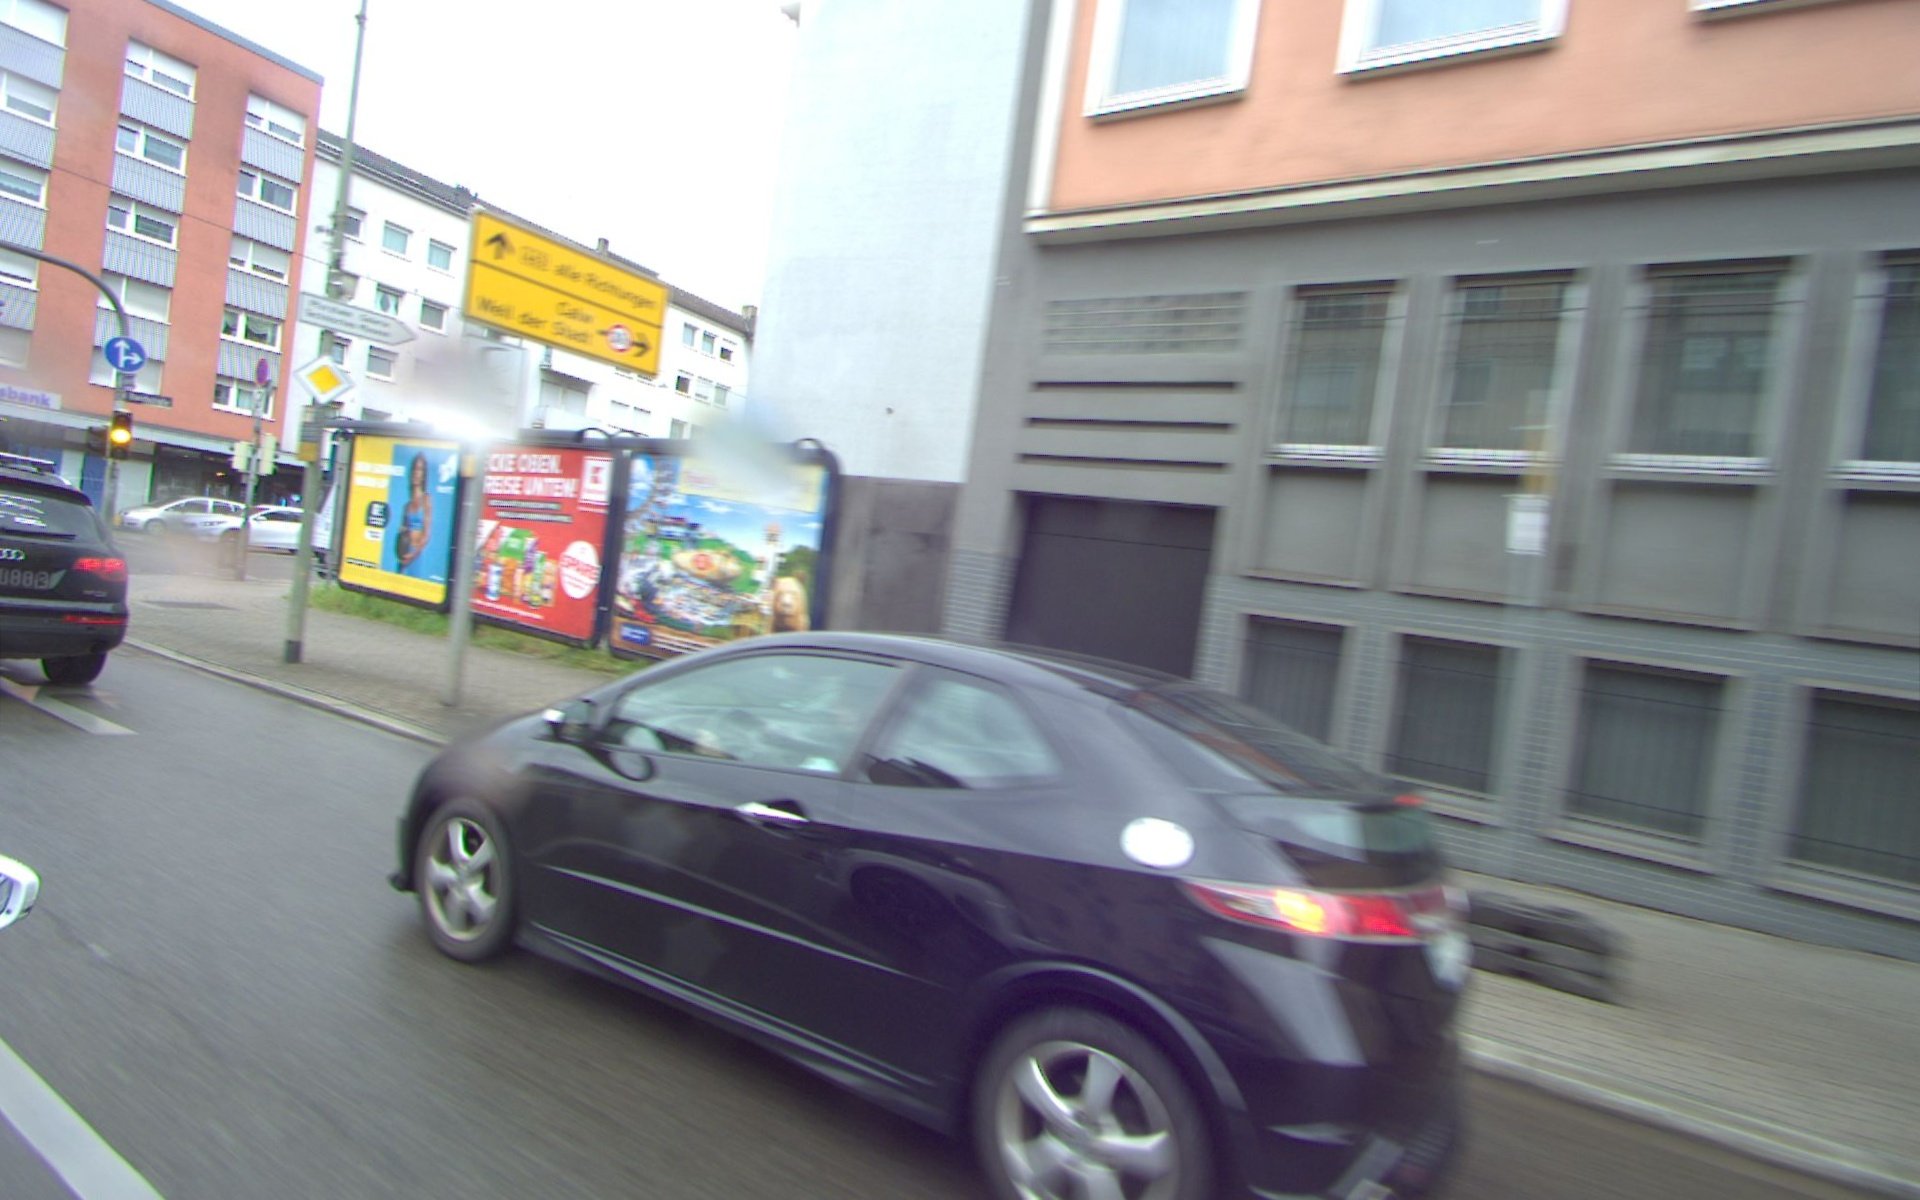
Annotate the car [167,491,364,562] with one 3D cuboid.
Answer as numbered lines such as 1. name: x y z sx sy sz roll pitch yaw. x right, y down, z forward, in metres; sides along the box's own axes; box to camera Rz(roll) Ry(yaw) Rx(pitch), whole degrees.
1. car: -21.568 -2.249 31.460 1.887 1.504 4.658 8 1 29

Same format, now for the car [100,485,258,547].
1. car: -27.171 -2.896 35.139 1.674 1.505 3.951 8 1 30

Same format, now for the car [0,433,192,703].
1. car: -8.823 -0.472 8.354 4.816 1.891 2.026 7 -1 30

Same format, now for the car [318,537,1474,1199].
1. car: -0.412 0.773 3.850 3.989 1.514 1.787 7 -2 32
